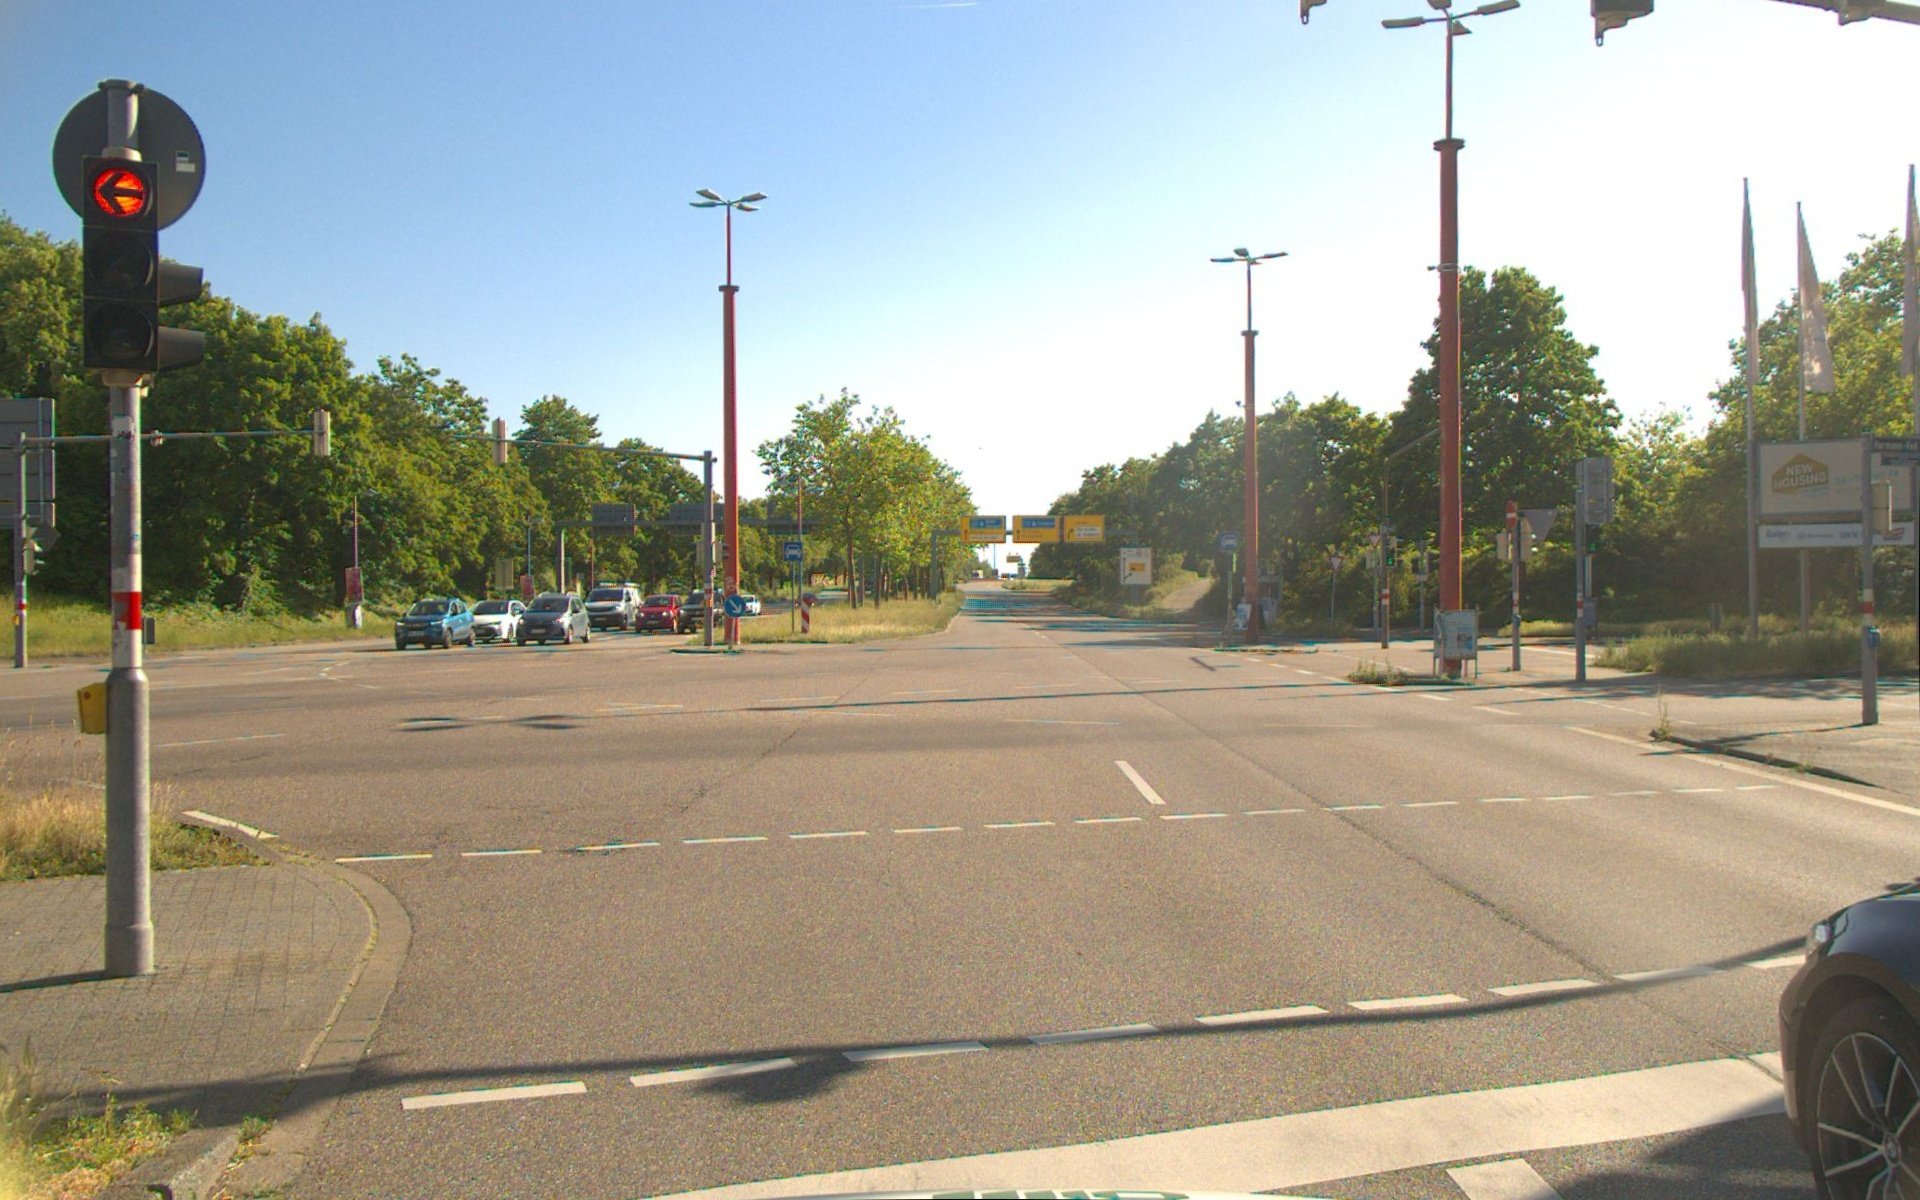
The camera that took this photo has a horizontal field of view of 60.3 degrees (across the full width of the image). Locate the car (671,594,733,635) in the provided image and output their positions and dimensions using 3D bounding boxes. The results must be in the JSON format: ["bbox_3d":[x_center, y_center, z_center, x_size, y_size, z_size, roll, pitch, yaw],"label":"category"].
[{"bbox_3d":[-9.881,0.529,63.555,1.782,1.534,3.999,0,0,-1],"label":"car"}]

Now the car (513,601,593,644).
[{"bbox_3d":[-12.669,0.673,51.703,1.704,1.265,3.611,0,0,-2],"label":"car"}]

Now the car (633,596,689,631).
[{"bbox_3d":[-12.226,0.531,67.794,1.704,1.386,3.611,0,0,-2],"label":"car"}]

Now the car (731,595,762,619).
[{"bbox_3d":[-15.166,0.495,117.631,1.761,1.668,3.999,0,0,-1],"label":"car"}]

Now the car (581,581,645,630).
[{"bbox_3d":[-15.368,0.232,73.460,1.855,2.061,5.221,0,0,-2],"label":"car"}]

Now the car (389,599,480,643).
[{"bbox_3d":[-16.051,0.615,50.681,1.704,1.265,3.611,0,0,-2],"label":"car"}]

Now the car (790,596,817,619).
[{"bbox_3d":[-12.032,0.566,127.265,1.782,1.657,3.999,0,0,-1],"label":"car"}]

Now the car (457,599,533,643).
[{"bbox_3d":[-15.927,0.705,56.798,1.704,1.436,3.611,0,0,-2],"label":"car"}]

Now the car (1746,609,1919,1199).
[{"bbox_3d":[2.908,0.737,1.989,1.831,1.422,4.443,0,0,0],"label":"car"}]
